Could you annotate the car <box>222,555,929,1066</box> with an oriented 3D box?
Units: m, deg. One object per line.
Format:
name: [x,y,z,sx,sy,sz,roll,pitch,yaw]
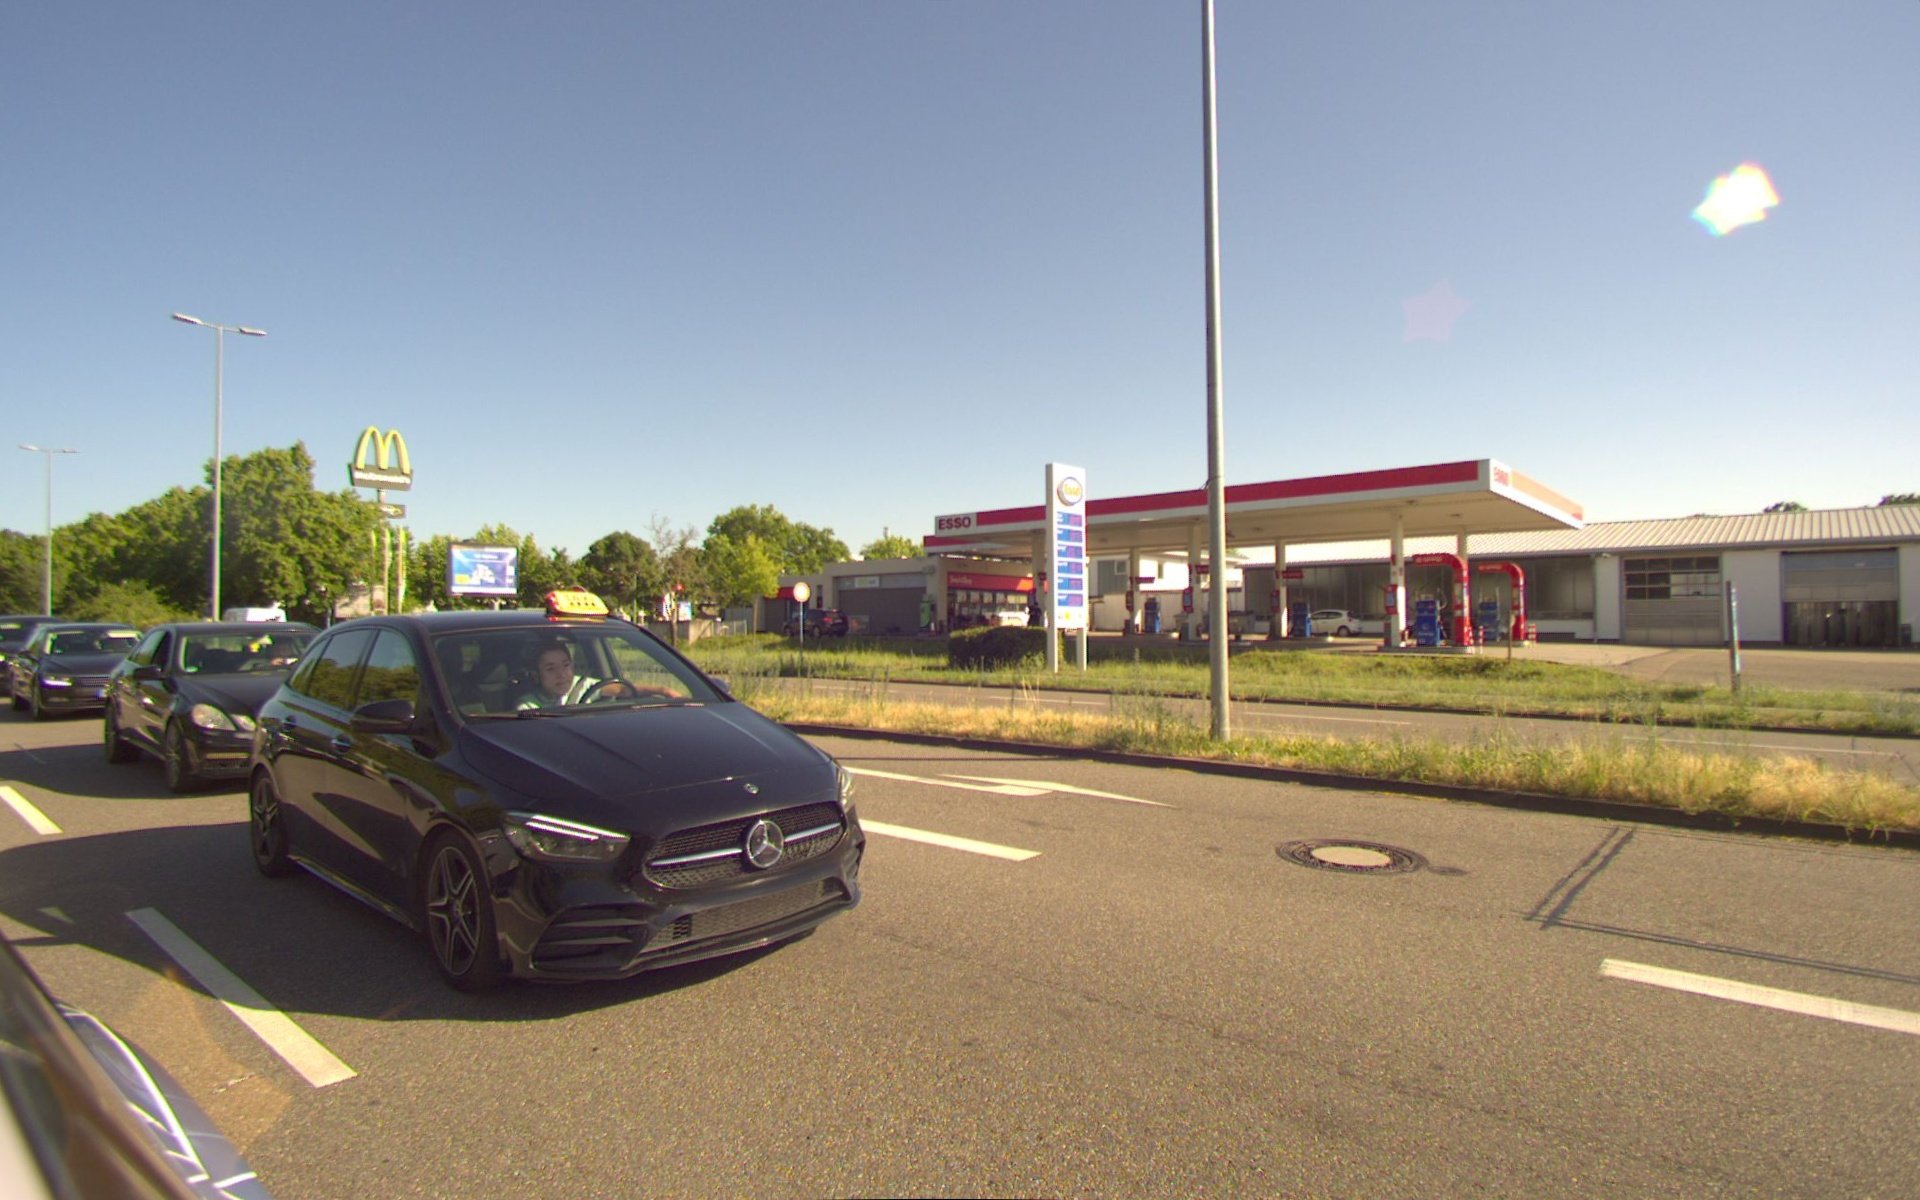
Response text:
car: [-2.286,0.729,5.339,4.187,1.638,1.780,-2,-2,42]

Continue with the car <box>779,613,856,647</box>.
car: [-7.787,1.630,54.998,4.117,1.783,1.972,-2,-1,43]

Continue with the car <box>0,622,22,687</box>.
car: [-25.914,1.403,26.277,4.401,1.600,1.838,-2,-2,41]

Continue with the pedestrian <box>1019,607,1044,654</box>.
pedestrian: [3.178,1.342,44.789,0.840,2.029,0.694,-2,-2,41]

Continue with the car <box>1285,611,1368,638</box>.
car: [19.848,1.333,54.869,3.844,1.450,1.730,-2,-2,39]

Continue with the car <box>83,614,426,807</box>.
car: [-7.235,0.932,10.204,4.401,1.535,1.838,-2,-2,41]

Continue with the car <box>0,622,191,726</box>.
car: [-14.427,1.124,16.774,4.401,1.492,1.838,-2,-2,41]

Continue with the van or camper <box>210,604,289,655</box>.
van or camper: [-38.581,1.597,54.876,6.754,2.592,2.154,-1,-2,43]

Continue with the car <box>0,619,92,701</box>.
car: [-20.092,1.225,21.542,4.401,1.600,1.838,-2,-2,41]
